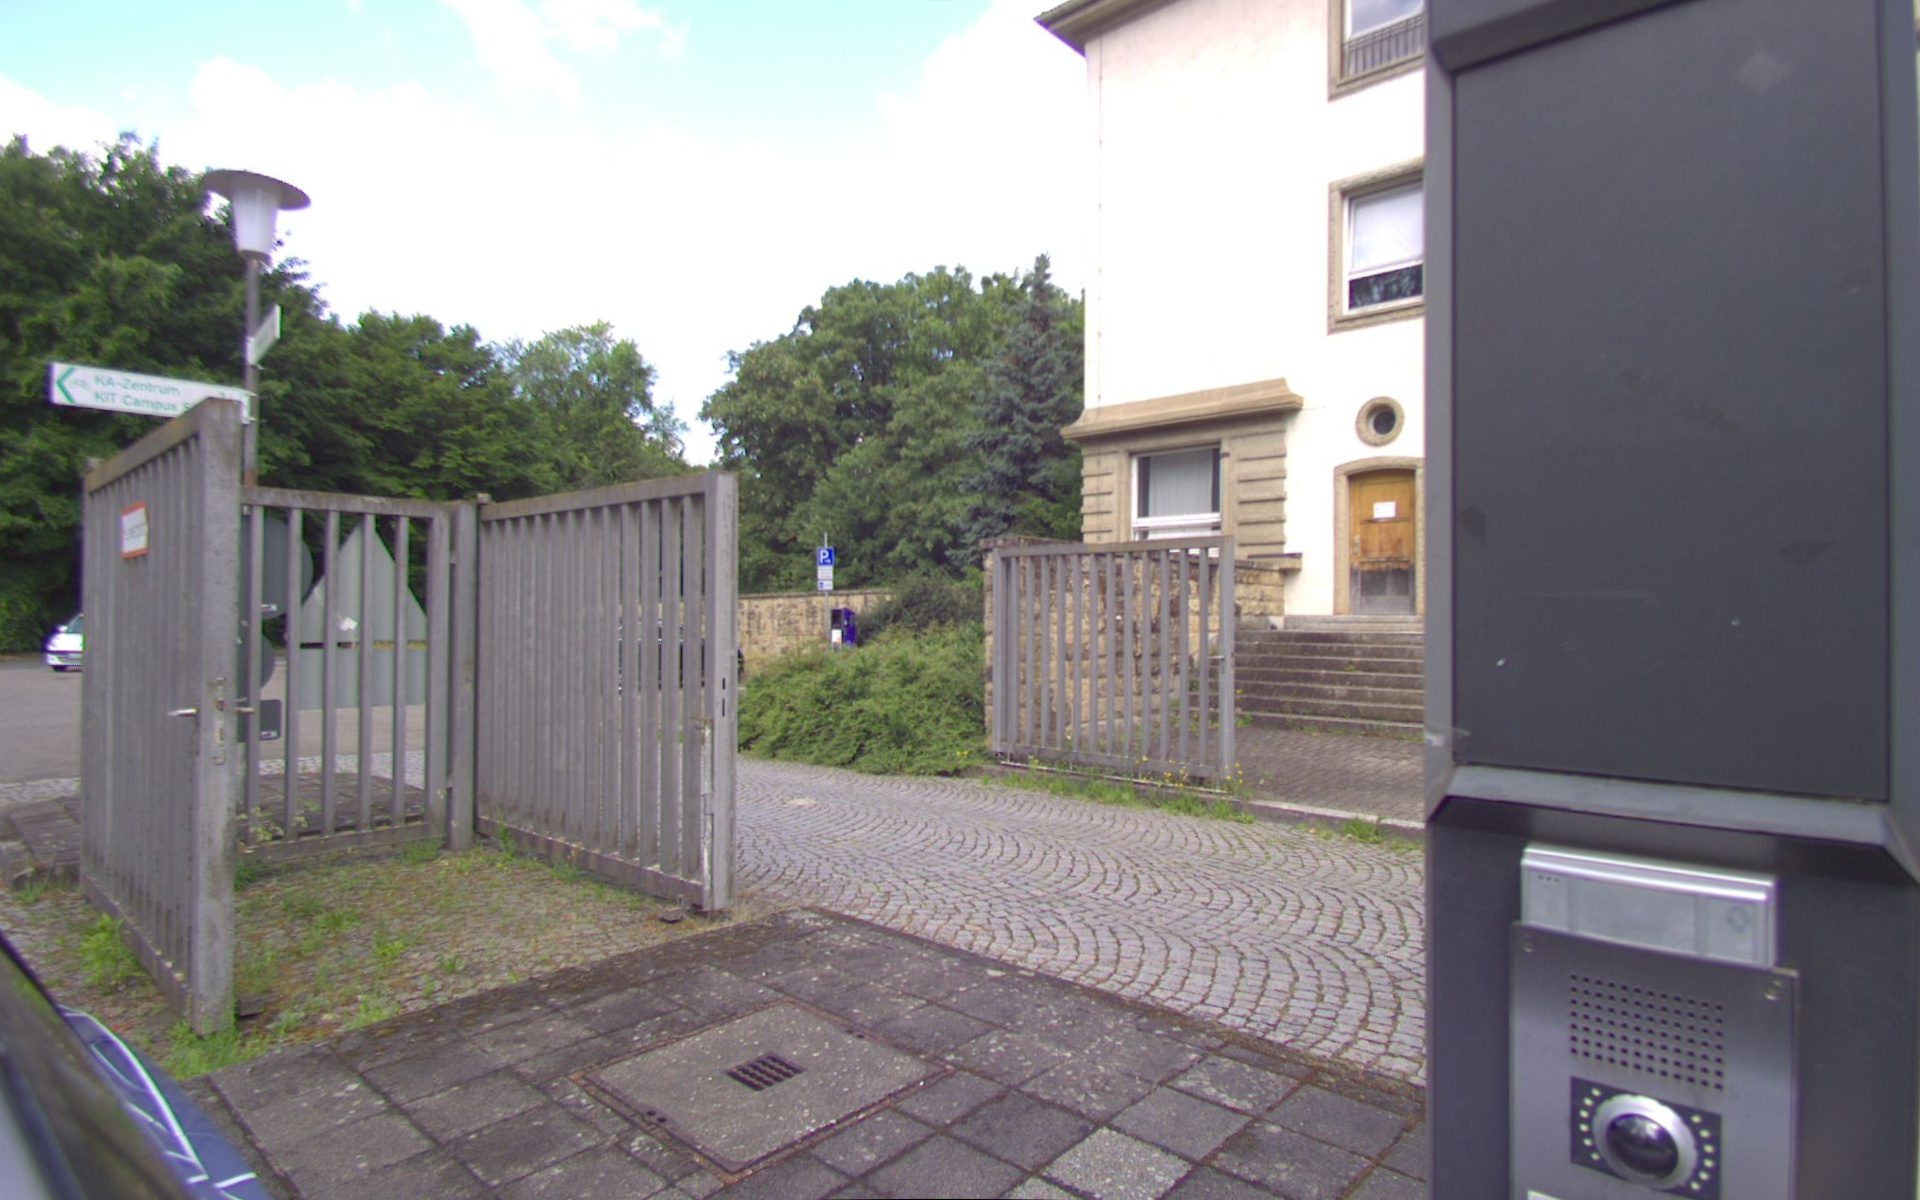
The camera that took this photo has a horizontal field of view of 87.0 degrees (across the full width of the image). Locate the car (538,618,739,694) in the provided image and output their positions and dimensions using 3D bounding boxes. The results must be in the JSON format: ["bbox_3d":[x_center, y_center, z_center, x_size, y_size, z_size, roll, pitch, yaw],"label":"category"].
[{"bbox_3d":[-7.153,1.185,22.722,3.939,1.529,1.804,0,-1,-43],"label":"car"}]

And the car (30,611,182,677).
[{"bbox_3d":[-24.955,1.227,29.773,1.836,1.772,4.161,2,-1,-16],"label":"car"}]
